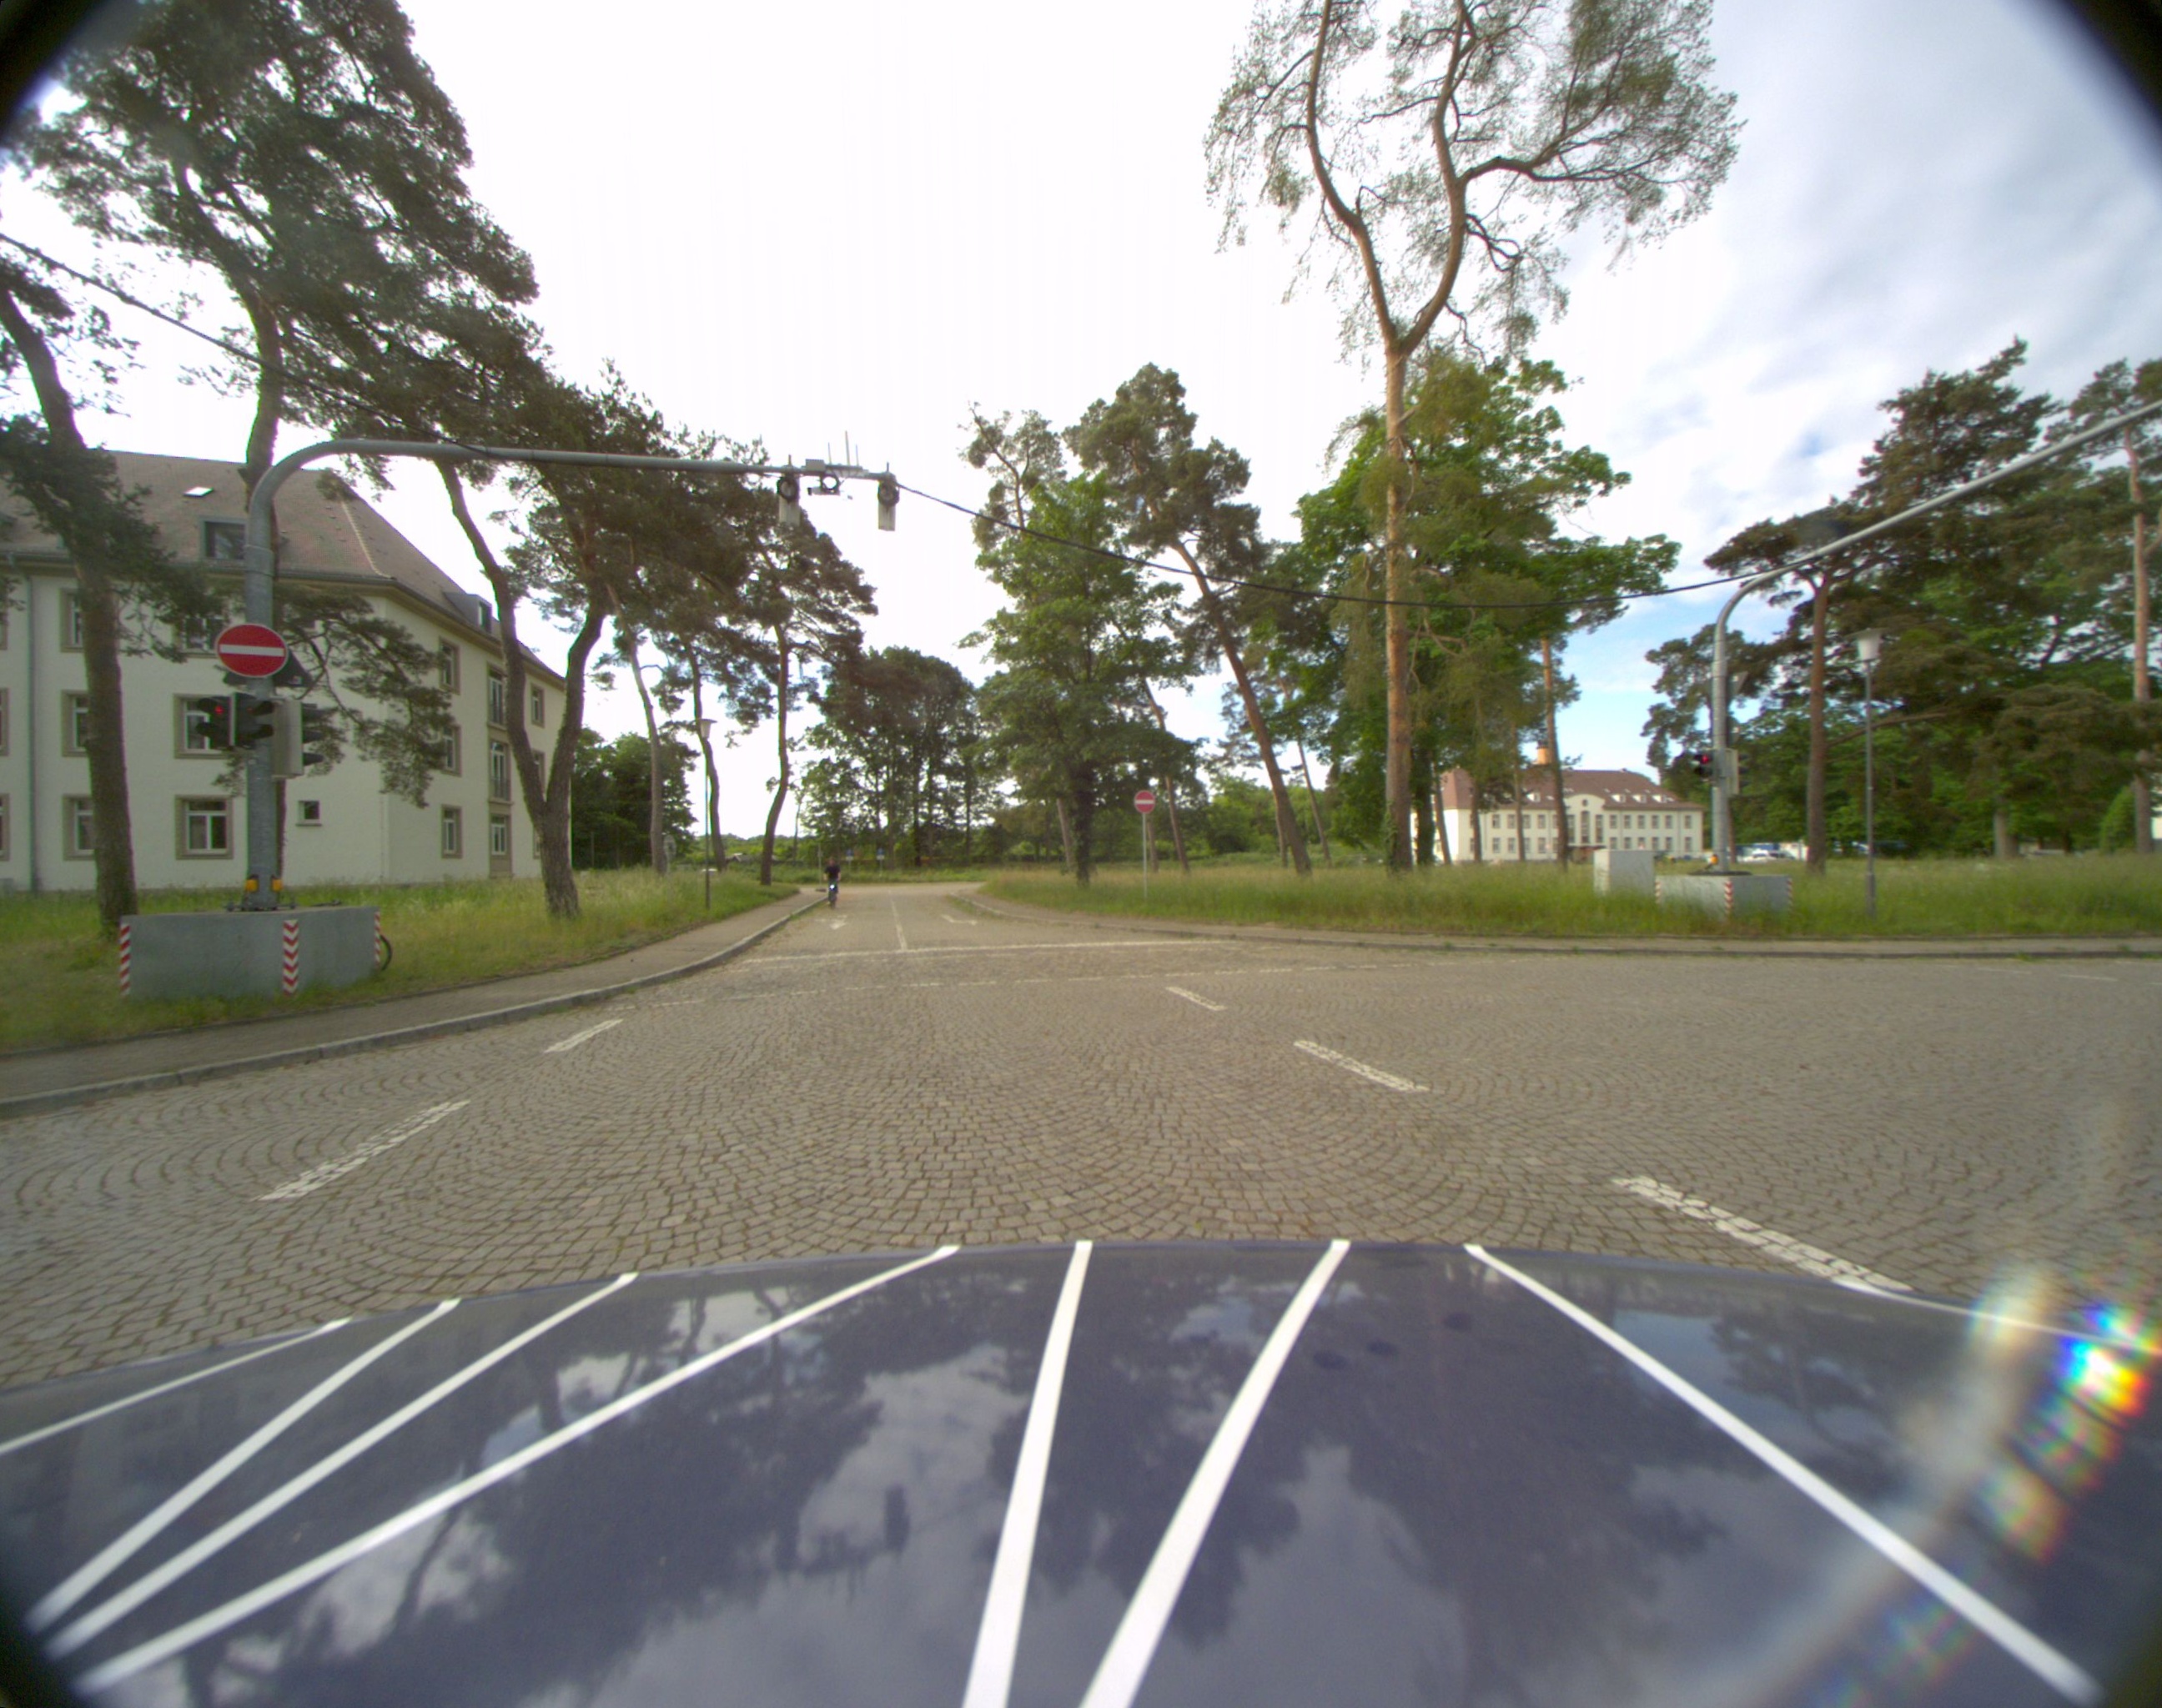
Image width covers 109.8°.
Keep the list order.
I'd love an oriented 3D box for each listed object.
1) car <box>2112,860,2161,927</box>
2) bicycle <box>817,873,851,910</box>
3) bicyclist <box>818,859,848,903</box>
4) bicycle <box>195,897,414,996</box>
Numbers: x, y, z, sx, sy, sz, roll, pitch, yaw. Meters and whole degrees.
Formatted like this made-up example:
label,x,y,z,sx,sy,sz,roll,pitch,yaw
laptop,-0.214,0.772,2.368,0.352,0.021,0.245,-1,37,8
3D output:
label,x,y,z,sx,sy,sz,roll,pitch,yaw
car,26.297,0.844,16.328,1.843,1.537,4.577,-1,-2,-22
bicycle,-9.219,1.387,28.401,0.965,1.268,2.161,-1,0,-12
bicyclist,-9.256,0.991,28.367,0.965,1.625,0.916,-1,0,-12
bicycle,-9.693,1.126,9.563,1.839,1.079,0.572,-1,2,-16
